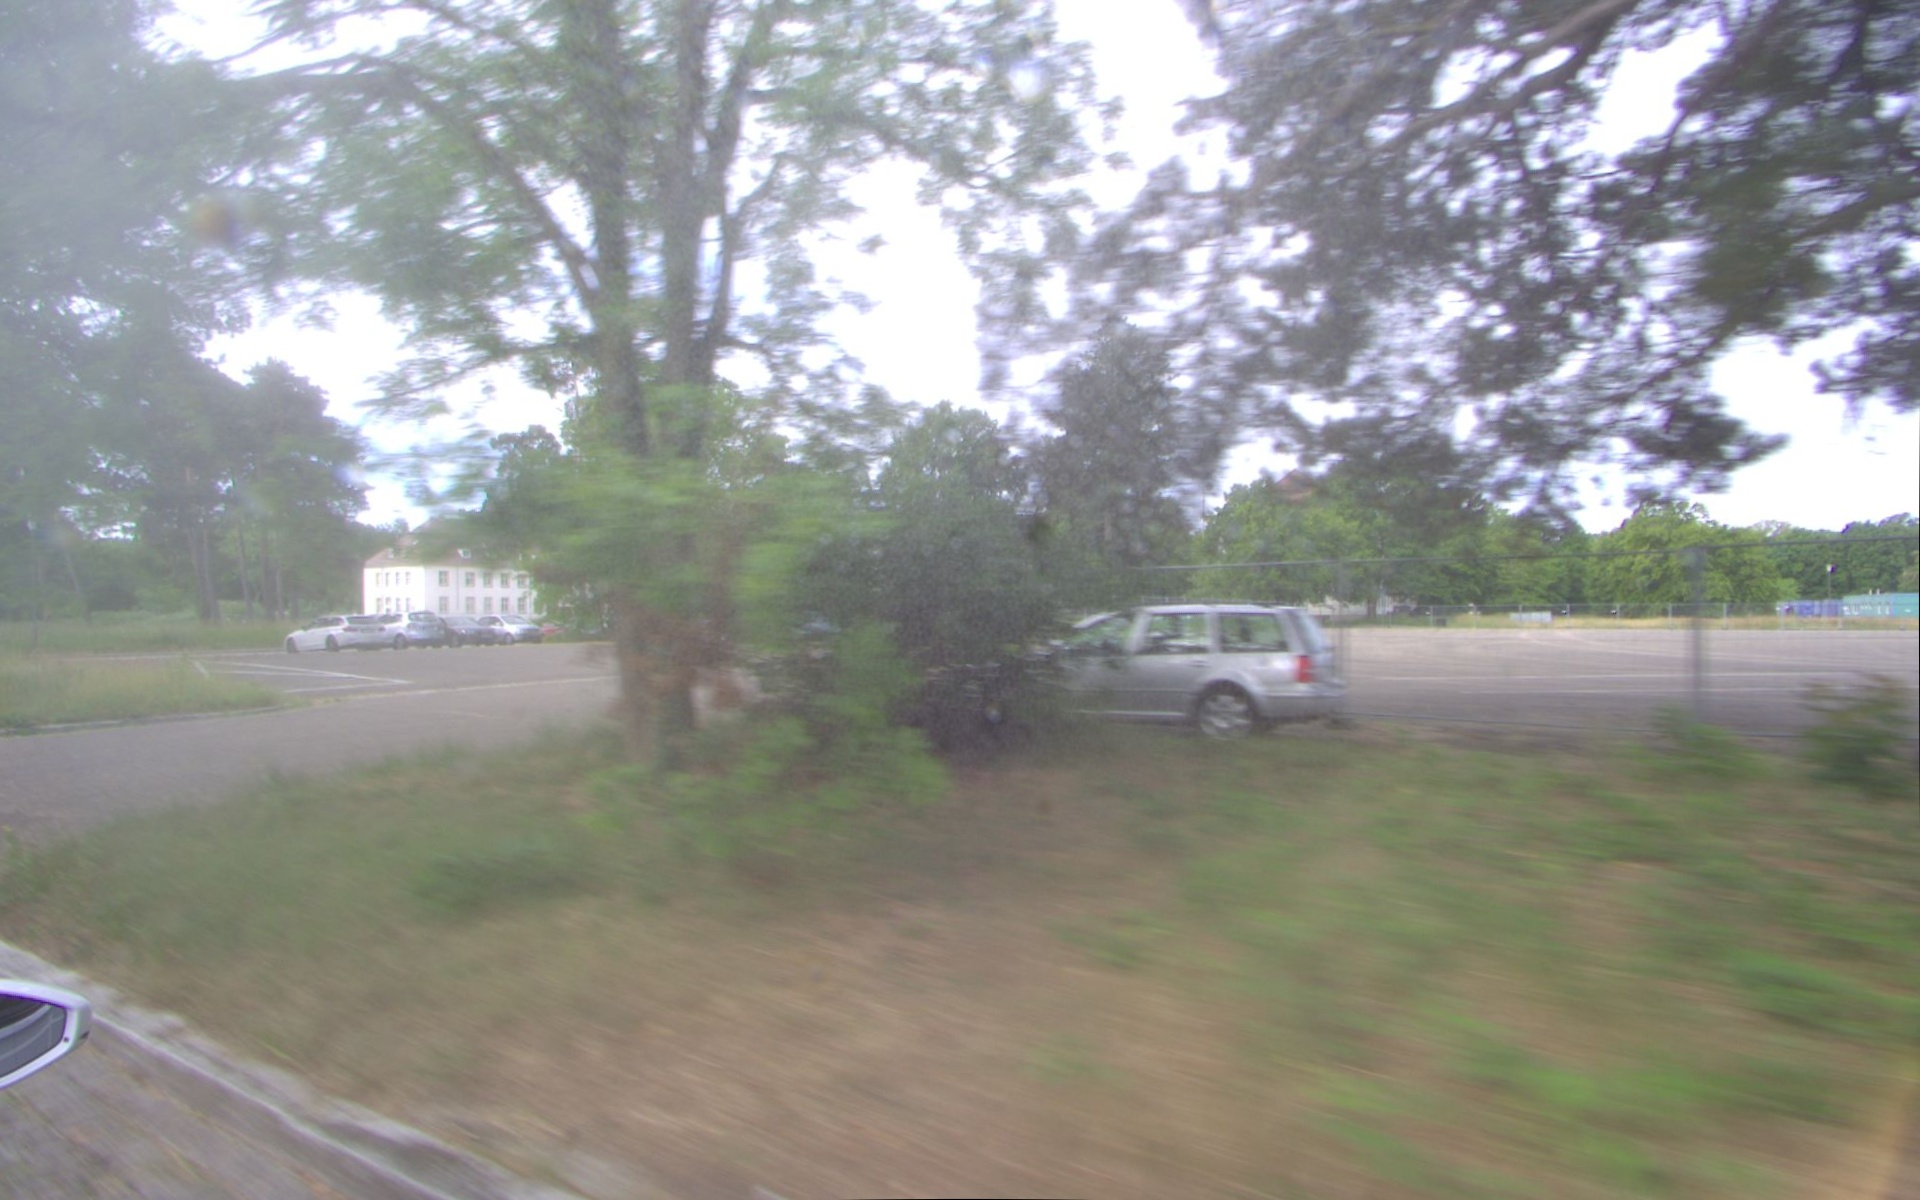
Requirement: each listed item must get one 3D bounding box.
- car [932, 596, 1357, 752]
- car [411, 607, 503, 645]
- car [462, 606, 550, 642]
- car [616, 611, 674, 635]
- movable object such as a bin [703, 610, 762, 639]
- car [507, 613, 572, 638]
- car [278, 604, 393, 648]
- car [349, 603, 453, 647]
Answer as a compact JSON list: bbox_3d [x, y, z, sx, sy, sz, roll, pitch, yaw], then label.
[{"bbox_3d":[2.000,0.733,11.263,4.420,1.469,1.672,-1,-1,29],"label":"car"},{"bbox_3d":[-22.077,1.150,43.881,4.185,1.504,1.697,-3,-2,33],"label":"car"},{"bbox_3d":[-21.093,1.122,46.489,4.185,1.504,1.697,-3,-2,33],"label":"car"},{"bbox_3d":[-21.102,1.510,66.986,4.188,1.521,1.611,0,-1,37],"label":"car"},{"bbox_3d":[-9.239,1.006,40.630,2.176,1.149,0.961,0,-2,23],"label":"movable object such as a bin"},{"bbox_3d":[-25.088,1.490,59.700,4.188,1.408,1.728,0,-1,37],"label":"car"},{"bbox_3d":[-24.413,1.065,39.133,4.540,1.505,1.847,-3,-3,29],"label":"car"},{"bbox_3d":[-23.164,1.033,41.465,4.180,1.626,1.780,-3,-2,29],"label":"car"}]
